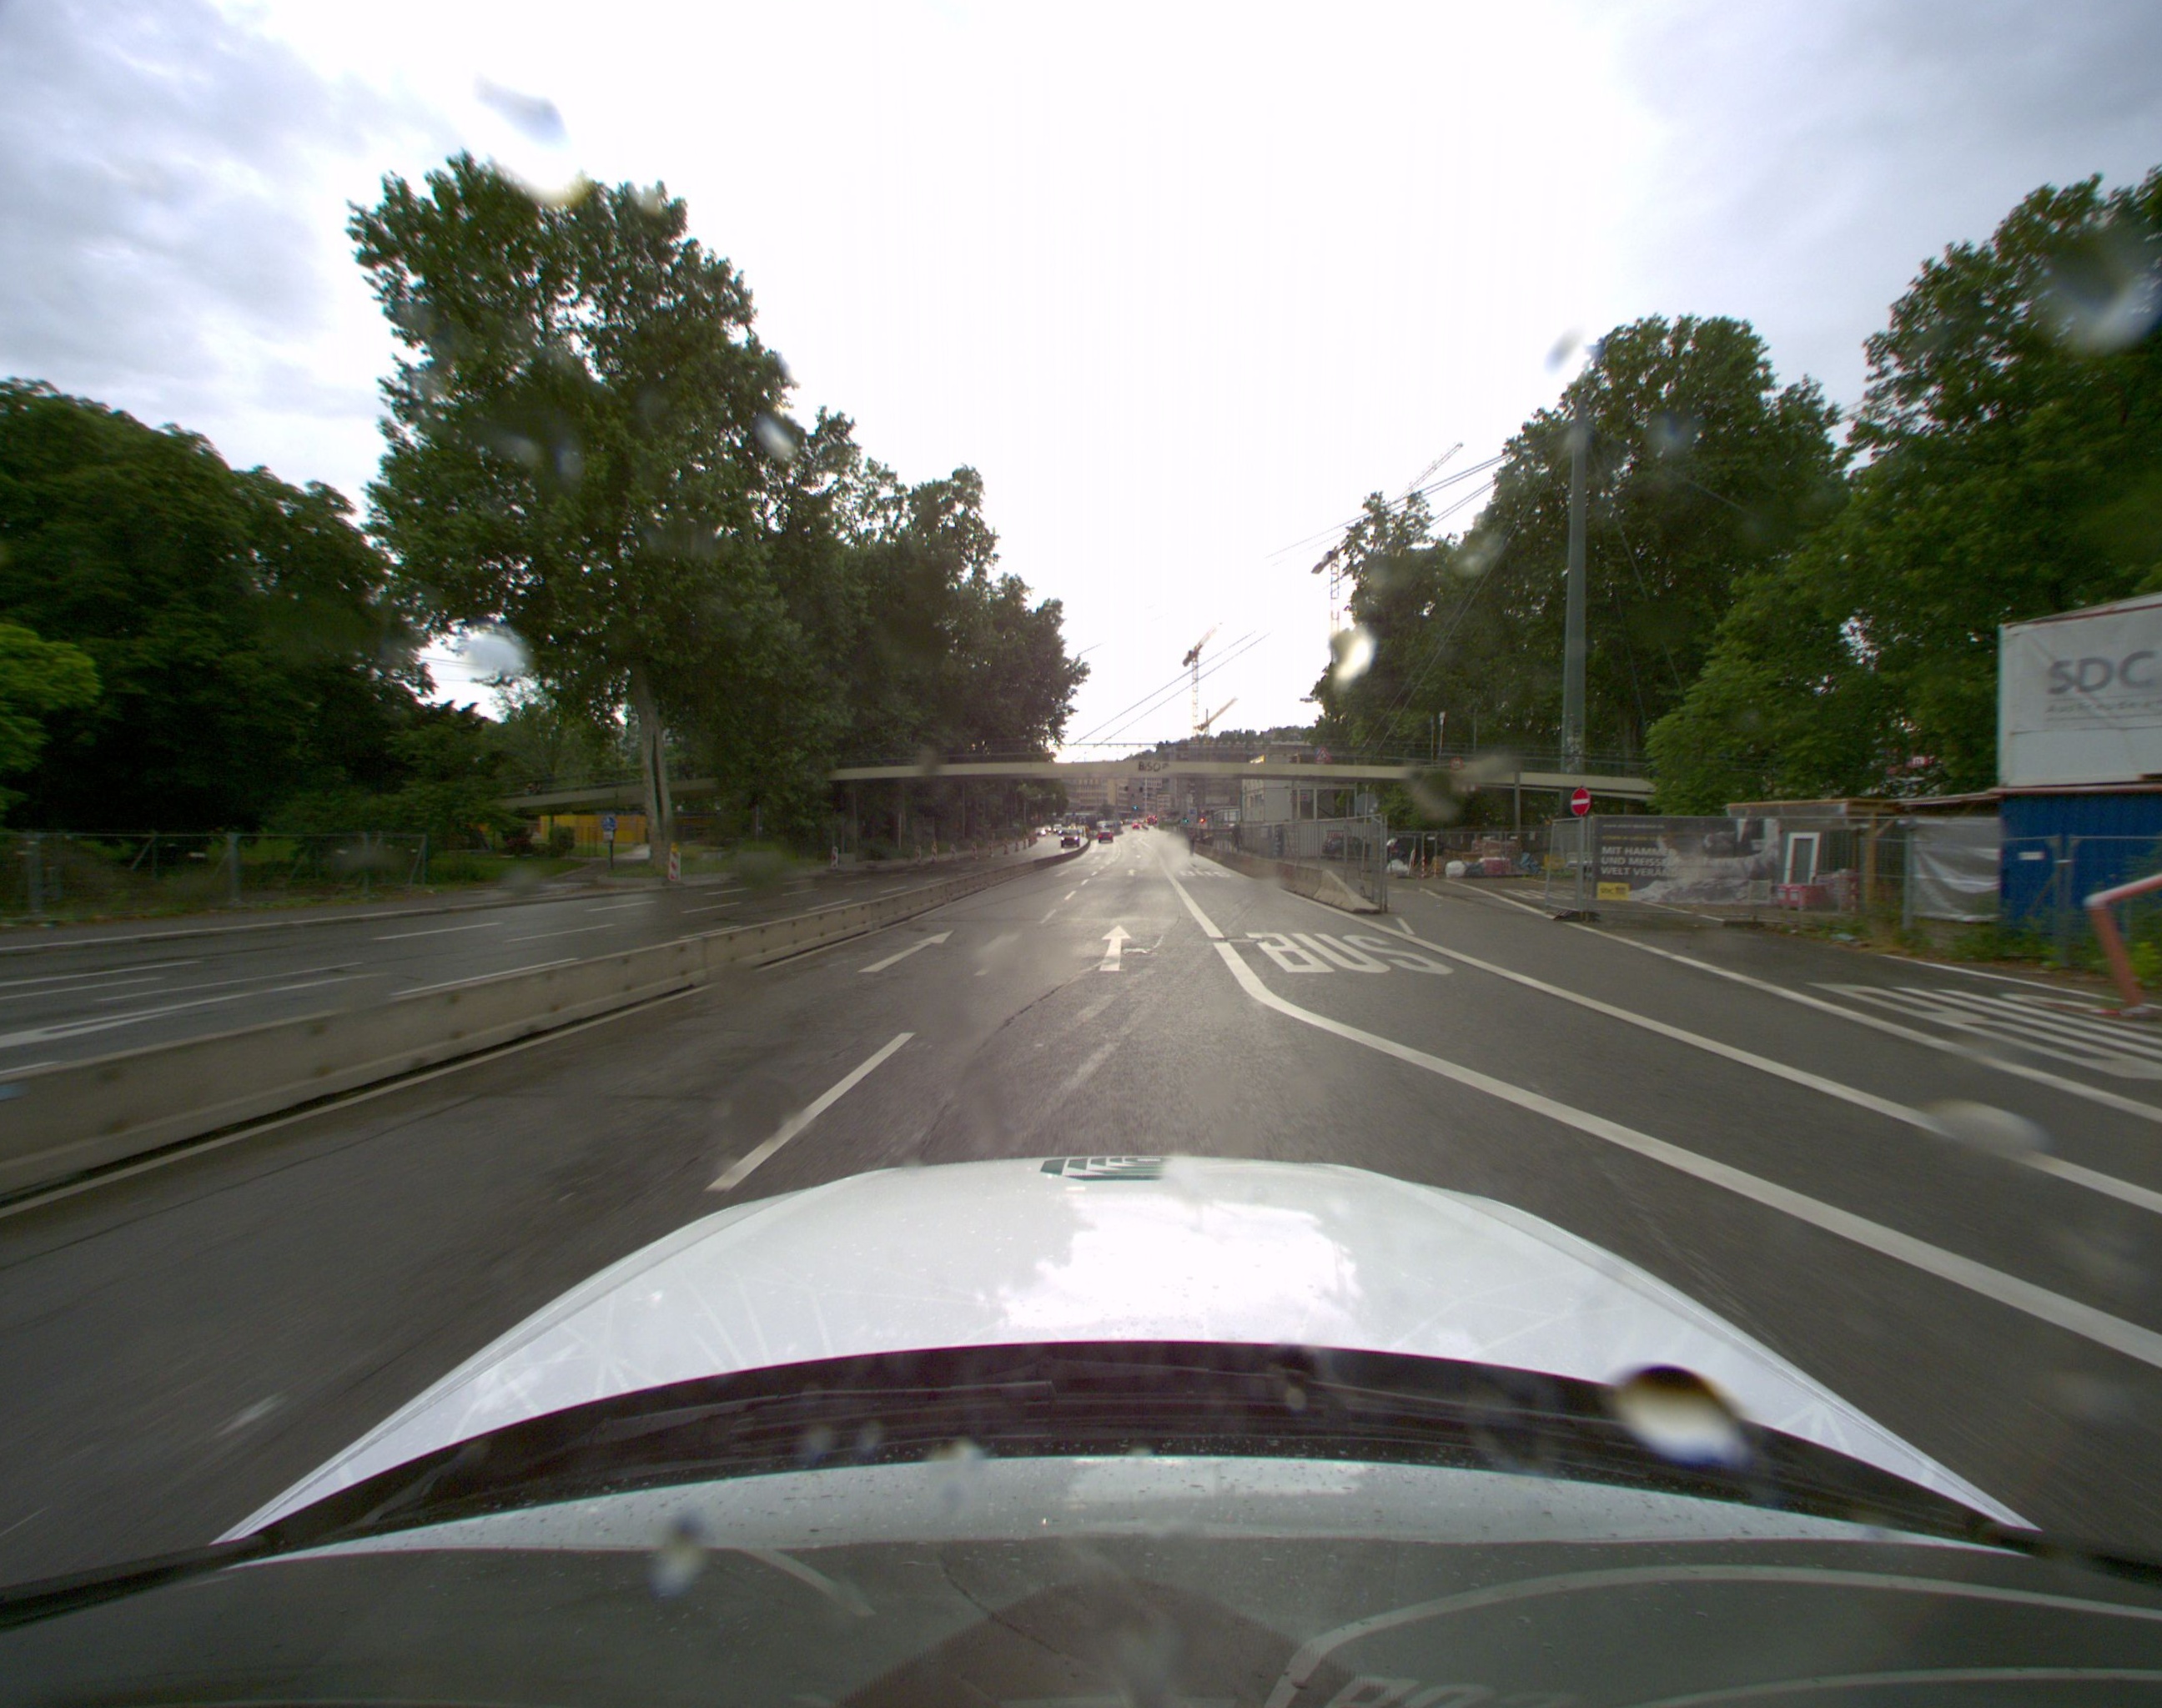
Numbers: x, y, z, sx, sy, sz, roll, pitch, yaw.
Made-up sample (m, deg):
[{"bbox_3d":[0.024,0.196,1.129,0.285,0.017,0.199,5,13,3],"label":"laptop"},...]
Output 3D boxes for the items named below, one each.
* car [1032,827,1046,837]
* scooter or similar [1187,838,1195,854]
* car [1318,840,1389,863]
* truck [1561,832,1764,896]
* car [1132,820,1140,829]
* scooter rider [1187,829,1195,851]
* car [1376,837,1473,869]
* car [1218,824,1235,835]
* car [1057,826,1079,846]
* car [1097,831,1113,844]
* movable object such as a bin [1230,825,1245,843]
[{"bbox_3d":[-7.382,-3.952,143.817,2.029,1.653,4.308,-1,2,-8],"label":"car"},{"bbox_3d":[9.155,-0.692,67.621,0.594,1.319,1.670,0,2,6],"label":"scooter or similar"},{"bbox_3d":[19.710,-0.194,59.013,4.526,1.628,1.789,0,2,1],"label":"car"},{"bbox_3d":[19.253,0.320,27.140,5.142,2.014,2.406,-1,-1,-3],"label":"truck"},{"bbox_3d":[13.930,-7.350,205.531,1.984,2.013,4.005,-2,0,5],"label":"car"},{"bbox_3d":[9.147,-1.161,67.590,0.594,1.785,0.999,0,2,5],"label":"scooter rider"},{"bbox_3d":[18.741,-0.082,44.524,4.486,1.728,1.999,0,1,-2],"label":"car"},{"bbox_3d":[25.113,-4.226,140.461,1.907,1.975,5.160,0,2,-2],"label":"car"},{"bbox_3d":[-1.470,-1.966,89.770,2.027,1.936,5.035,-2,0,-5],"label":"car"},{"bbox_3d":[2.932,-2.024,101.300,1.895,1.528,4.177,-2,0,1],"label":"car"},{"bbox_3d":[19.862,-2.501,103.237,1.461,2.202,1.257,-1,3,-21],"label":"movable object such as a bin"}]
